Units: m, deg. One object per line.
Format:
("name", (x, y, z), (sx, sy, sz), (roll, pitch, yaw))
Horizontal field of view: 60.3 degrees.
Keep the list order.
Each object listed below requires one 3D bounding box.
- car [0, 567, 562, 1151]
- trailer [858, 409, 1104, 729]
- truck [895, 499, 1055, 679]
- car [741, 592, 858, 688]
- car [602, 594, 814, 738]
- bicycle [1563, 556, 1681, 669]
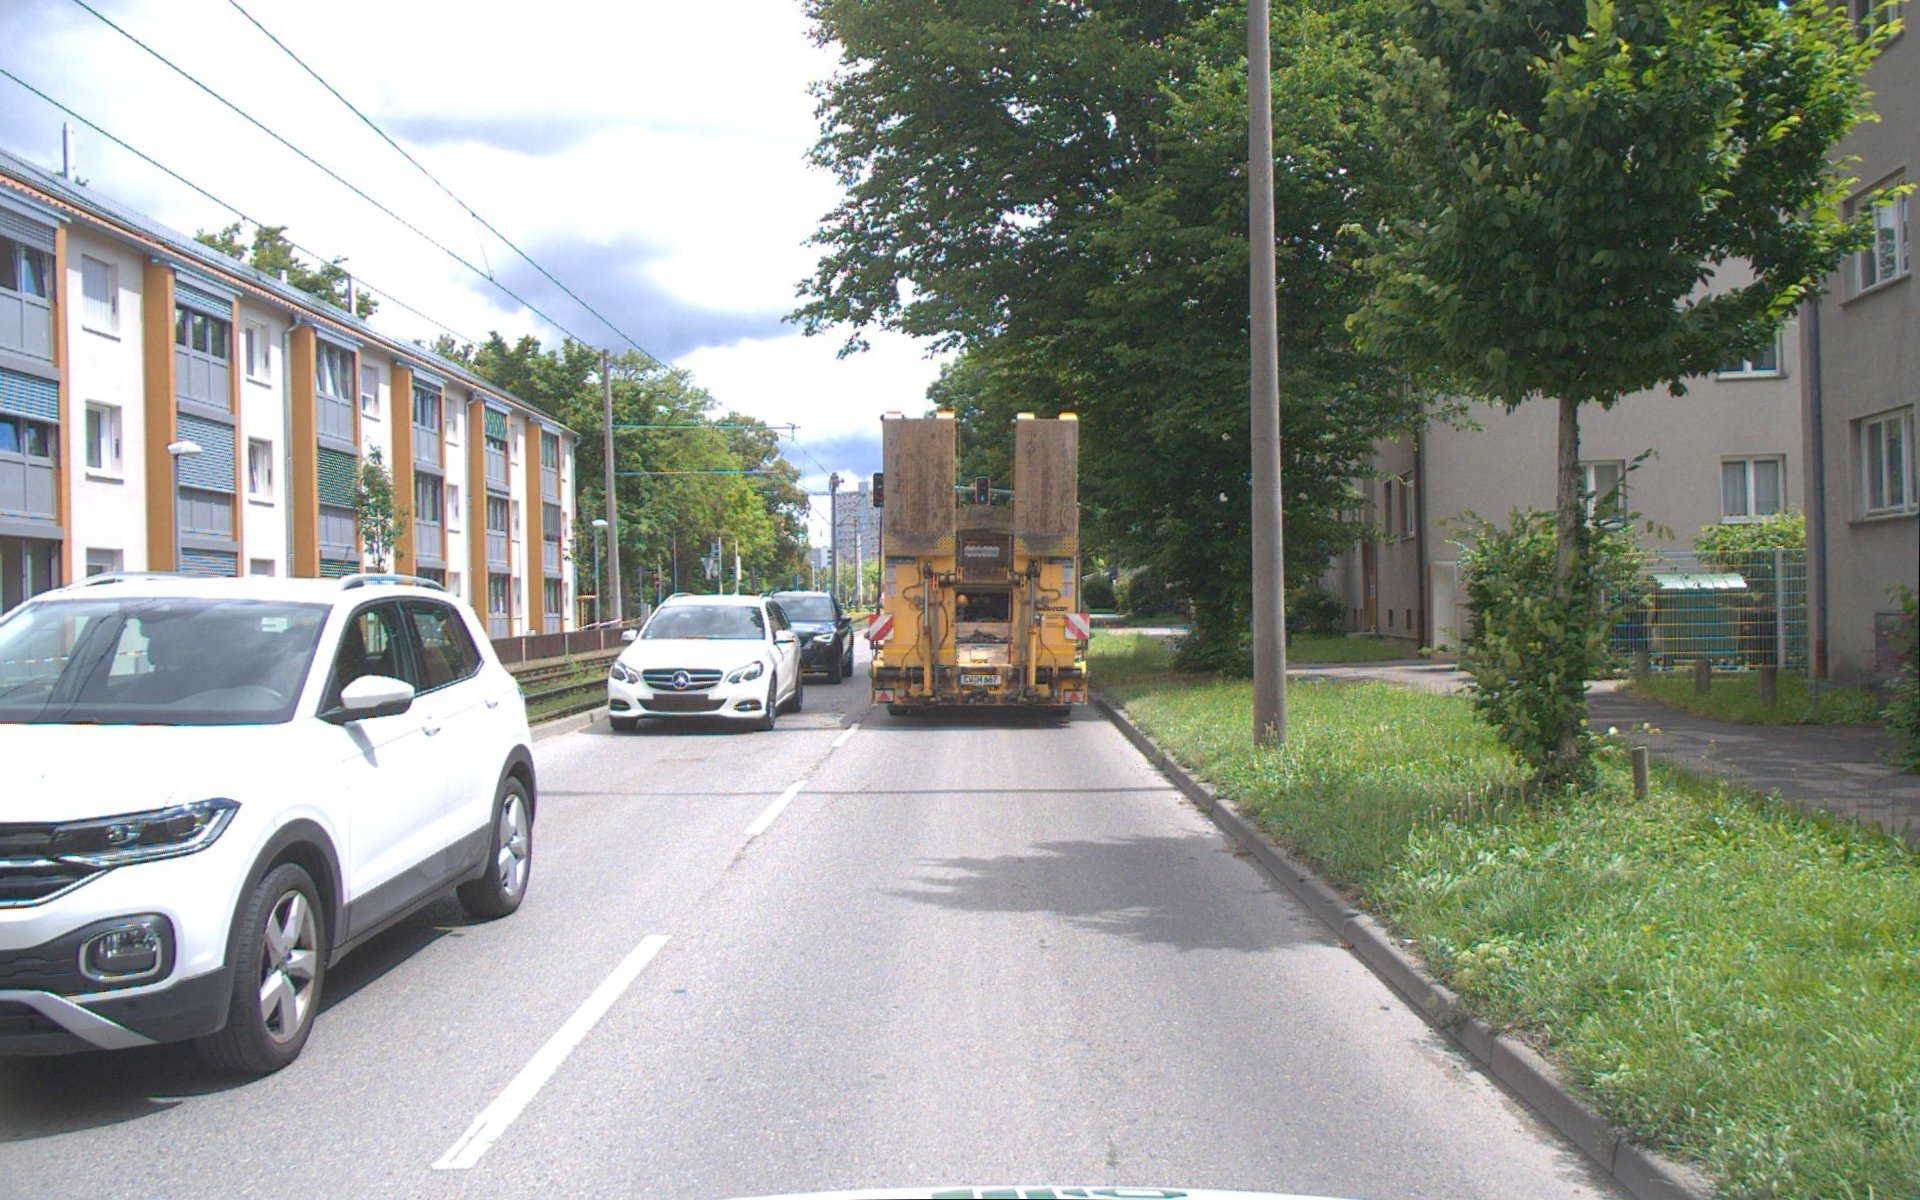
("car", (-2.894, 0.697, 6.440), (1.682, 1.579, 3.918), (0, 0, 1))
("trailer", (0.226, -0.383, 24.113), (2.765, 3.585, 11.051), (0, 0, 0))
("truck", (0.302, -0.228, 33.456), (2.857, 3.222, 7.681), (0, 0, 0))
("car", (-2.743, 0.650, 29.009), (1.616, 1.547, 3.866), (0, 0, 1))
("car", (-2.877, 0.699, 19.857), (1.840, 1.507, 4.528), (0, 0, 0))
("bicycle", (9.773, 0.182, 24.468), (1.319, 1.601, 1.072), (-2, 0, 3))
